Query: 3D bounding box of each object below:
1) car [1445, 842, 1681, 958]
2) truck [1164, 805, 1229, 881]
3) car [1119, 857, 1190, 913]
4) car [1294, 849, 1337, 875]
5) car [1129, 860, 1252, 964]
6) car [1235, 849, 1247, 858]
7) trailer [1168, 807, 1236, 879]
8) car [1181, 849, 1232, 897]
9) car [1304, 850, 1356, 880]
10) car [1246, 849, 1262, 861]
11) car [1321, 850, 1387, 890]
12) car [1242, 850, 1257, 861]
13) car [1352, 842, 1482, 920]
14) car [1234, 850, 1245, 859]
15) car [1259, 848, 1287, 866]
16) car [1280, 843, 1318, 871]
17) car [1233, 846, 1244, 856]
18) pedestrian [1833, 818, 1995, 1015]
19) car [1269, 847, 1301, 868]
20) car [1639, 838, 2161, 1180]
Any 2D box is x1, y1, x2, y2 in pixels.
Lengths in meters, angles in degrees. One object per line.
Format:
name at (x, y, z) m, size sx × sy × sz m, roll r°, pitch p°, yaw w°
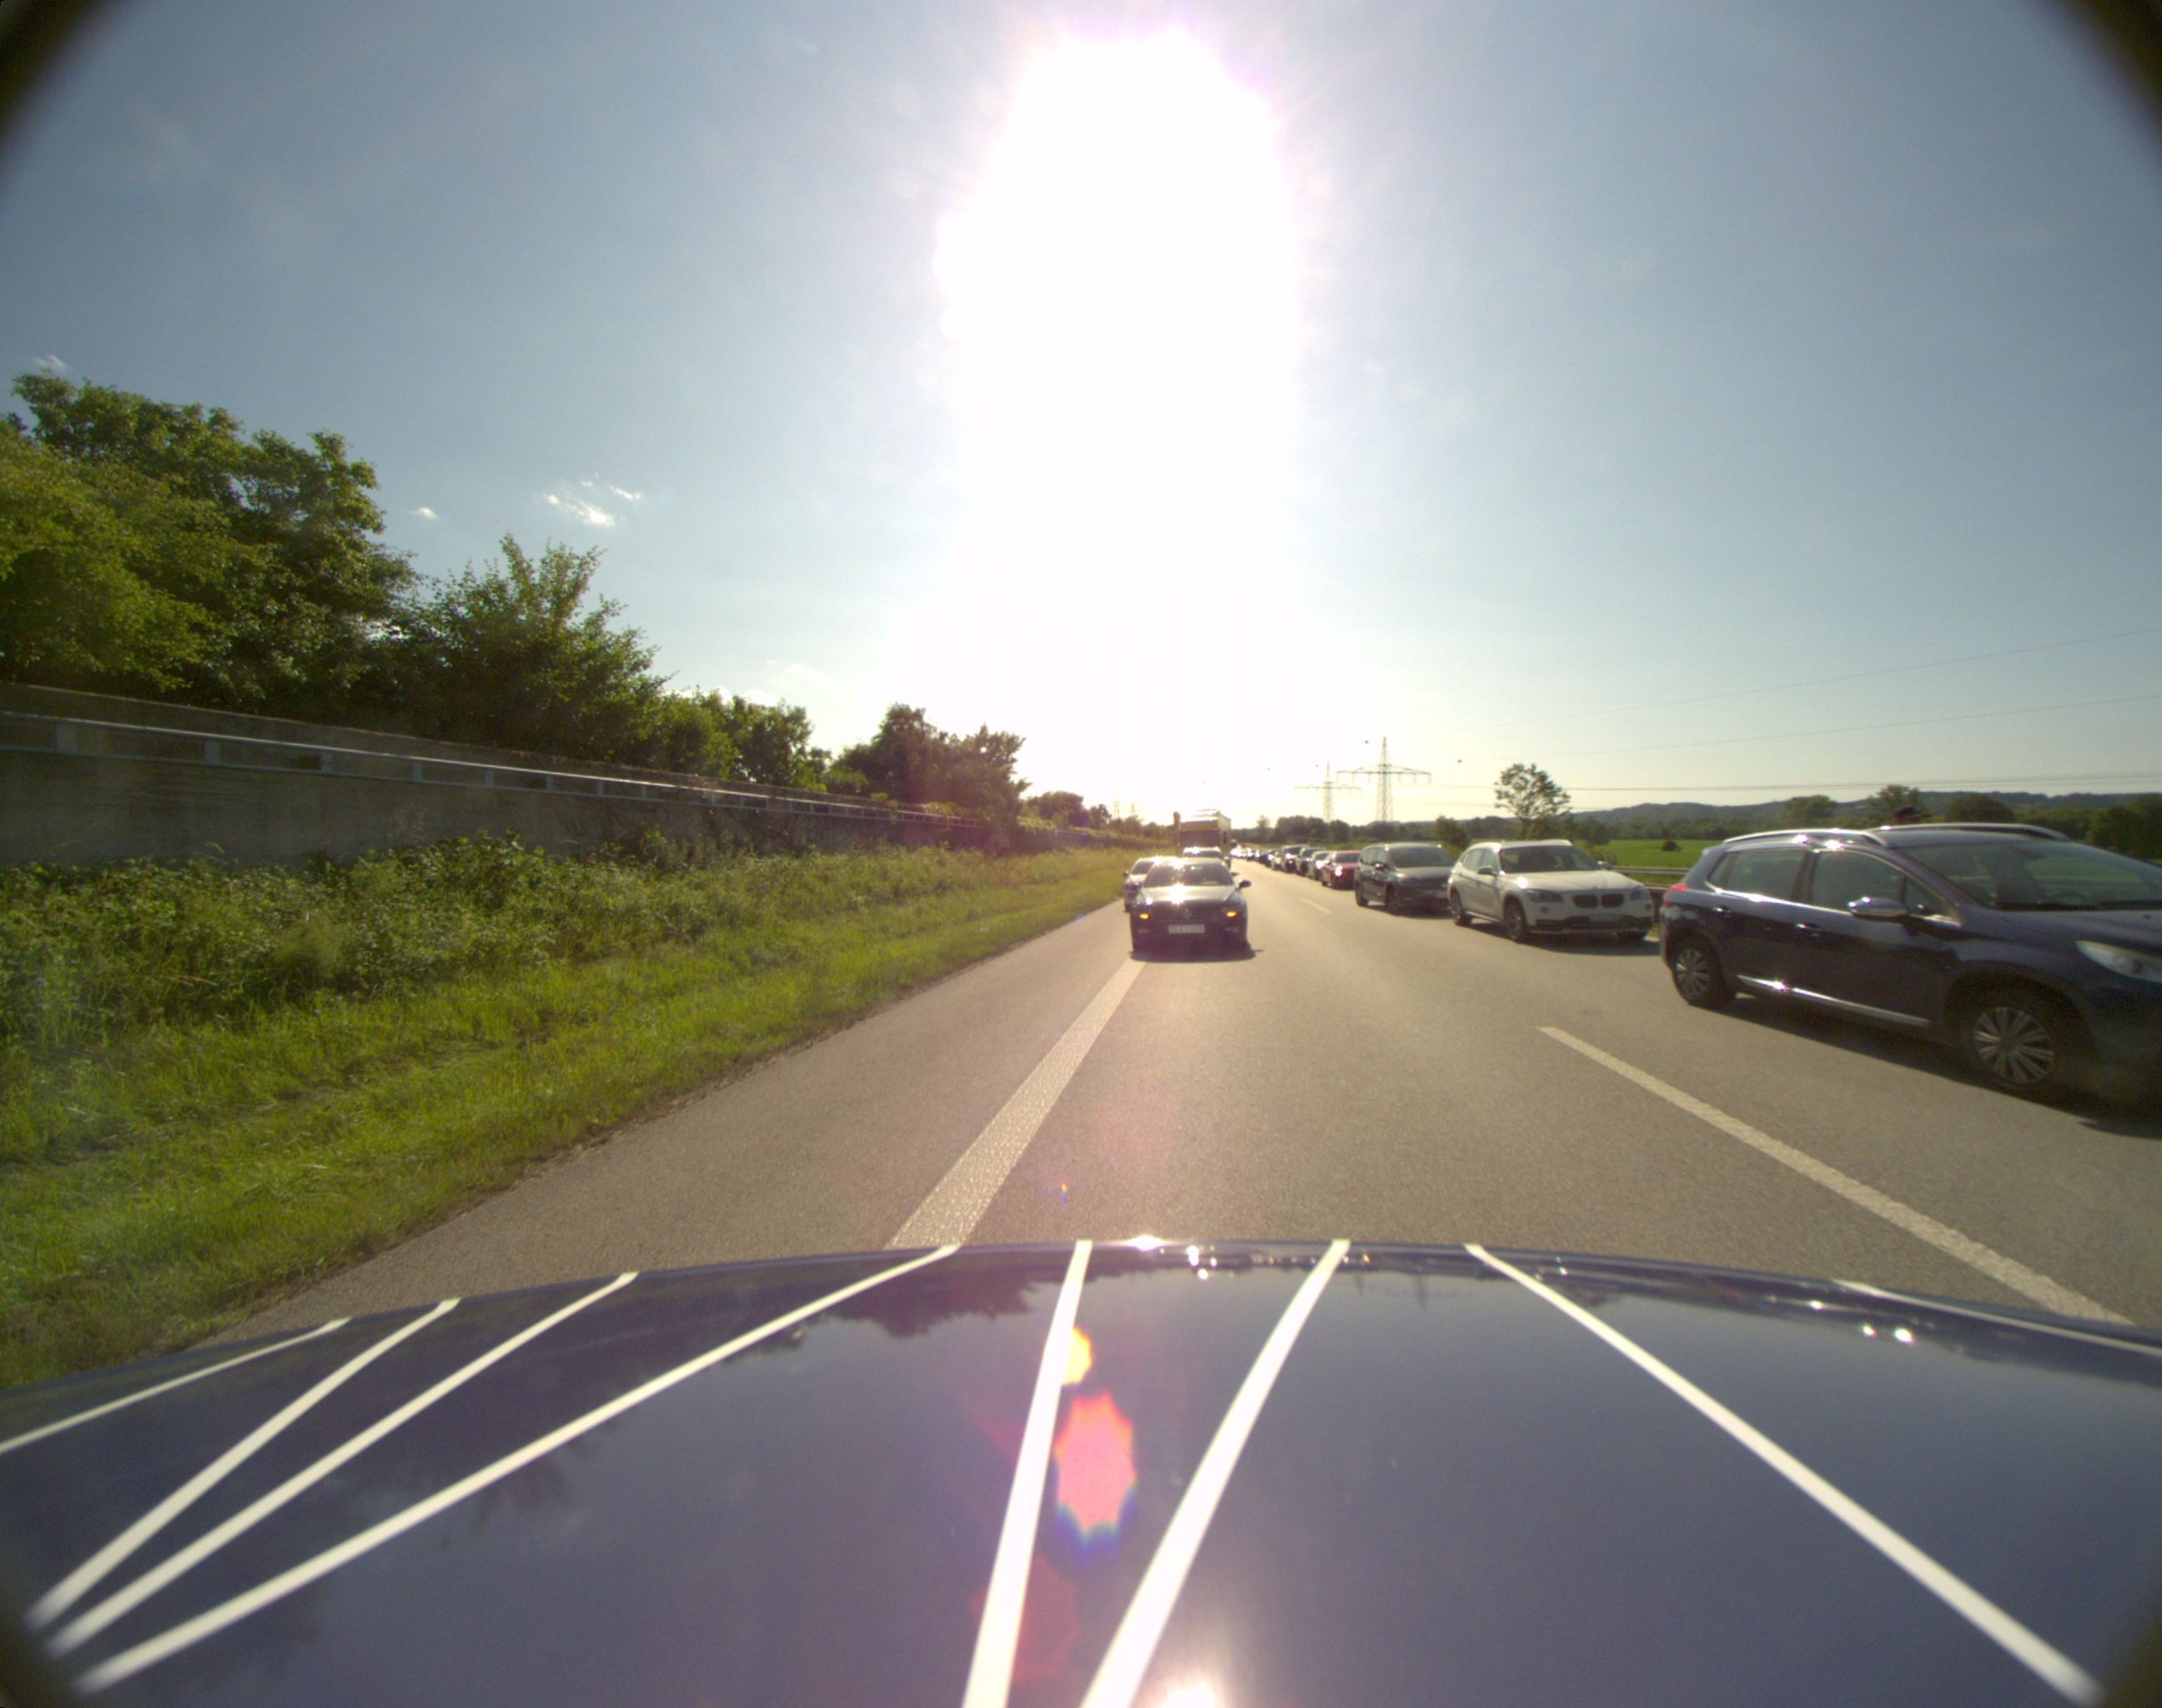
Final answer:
car at (7.588, 0.630, 12.510) m, size 1.831 × 1.564 × 4.166 m, roll -1°, pitch 0°, yaw 10°
truck at (7.060, -0.659, 45.540) m, size 3.330 × 4.089 × 6.975 m, roll -2°, pitch 1°, yaw 11°
car at (2.279, 0.864, 22.706) m, size 1.715 × 1.417 × 4.328 m, roll -2°, pitch 0°, yaw 10°
car at (13.598, 0.420, 44.253) m, size 1.892 × 1.447 × 4.003 m, roll -1°, pitch 0°, yaw 10°
car at (1.958, 0.874, 13.193) m, size 1.715 × 1.405 × 4.328 m, roll -2°, pitch 0°, yaw 10°
car at (26.549, -0.092, 126.223) m, size 1.818 × 1.450 × 4.121 m, roll -3°, pitch 0°, yaw 11°
trailer at (8.476, -0.773, 51.488) m, size 3.384 × 4.089 × 13.964 m, roll -2°, pitch 1°, yaw 13°
car at (4.769, 0.657, 28.840) m, size 1.715 × 1.614 × 4.328 m, roll -2°, pitch 0°, yaw 10°
car at (12.475, 0.500, 38.262) m, size 1.893 × 1.390 × 4.002 m, roll -1°, pitch 0°, yaw 9°
car at (22.208, 0.133, 97.729) m, size 1.818 × 1.450 × 4.120 m, roll -1°, pitch 0°, yaw 11°
car at (10.579, 0.570, 29.750) m, size 1.818 × 1.450 × 4.121 m, roll -1°, pitch 0°, yaw 11°
car at (23.449, 0.142, 106.072) m, size 1.818 × 1.450 × 4.120 m, roll -3°, pitch 0°, yaw 10°
car at (7.870, 0.569, 18.209) m, size 1.818 × 1.606 × 4.120 m, roll -2°, pitch 0°, yaw 9°
car at (27.504, 0.044, 131.794) m, size 1.818 × 1.450 × 4.121 m, roll -1°, pitch 0°, yaw 11°
car at (16.999, 0.236, 67.361) m, size 1.997 × 1.522 × 4.003 m, roll -1°, pitch 0°, yaw 9°
car at (14.589, 0.207, 51.056) m, size 1.900 × 1.777 × 4.202 m, roll -1°, pitch 0°, yaw 9°
car at (29.283, -0.490, 140.966) m, size 1.812 × 1.783 × 3.776 m, roll -1°, pitch 0°, yaw 9°
pedestrian at (7.795, 0.550, 7.156) m, size 0.672 × 1.740 × 0.815 m, roll -1°, pitch 1°, yaw 10°
car at (15.572, 0.219, 58.170) m, size 1.997 × 1.522 × 4.003 m, roll -1°, pitch 0°, yaw 9°
car at (6.044, 0.702, 5.291) m, size 1.691 × 1.526 × 3.950 m, roll -3°, pitch 0°, yaw 6°
